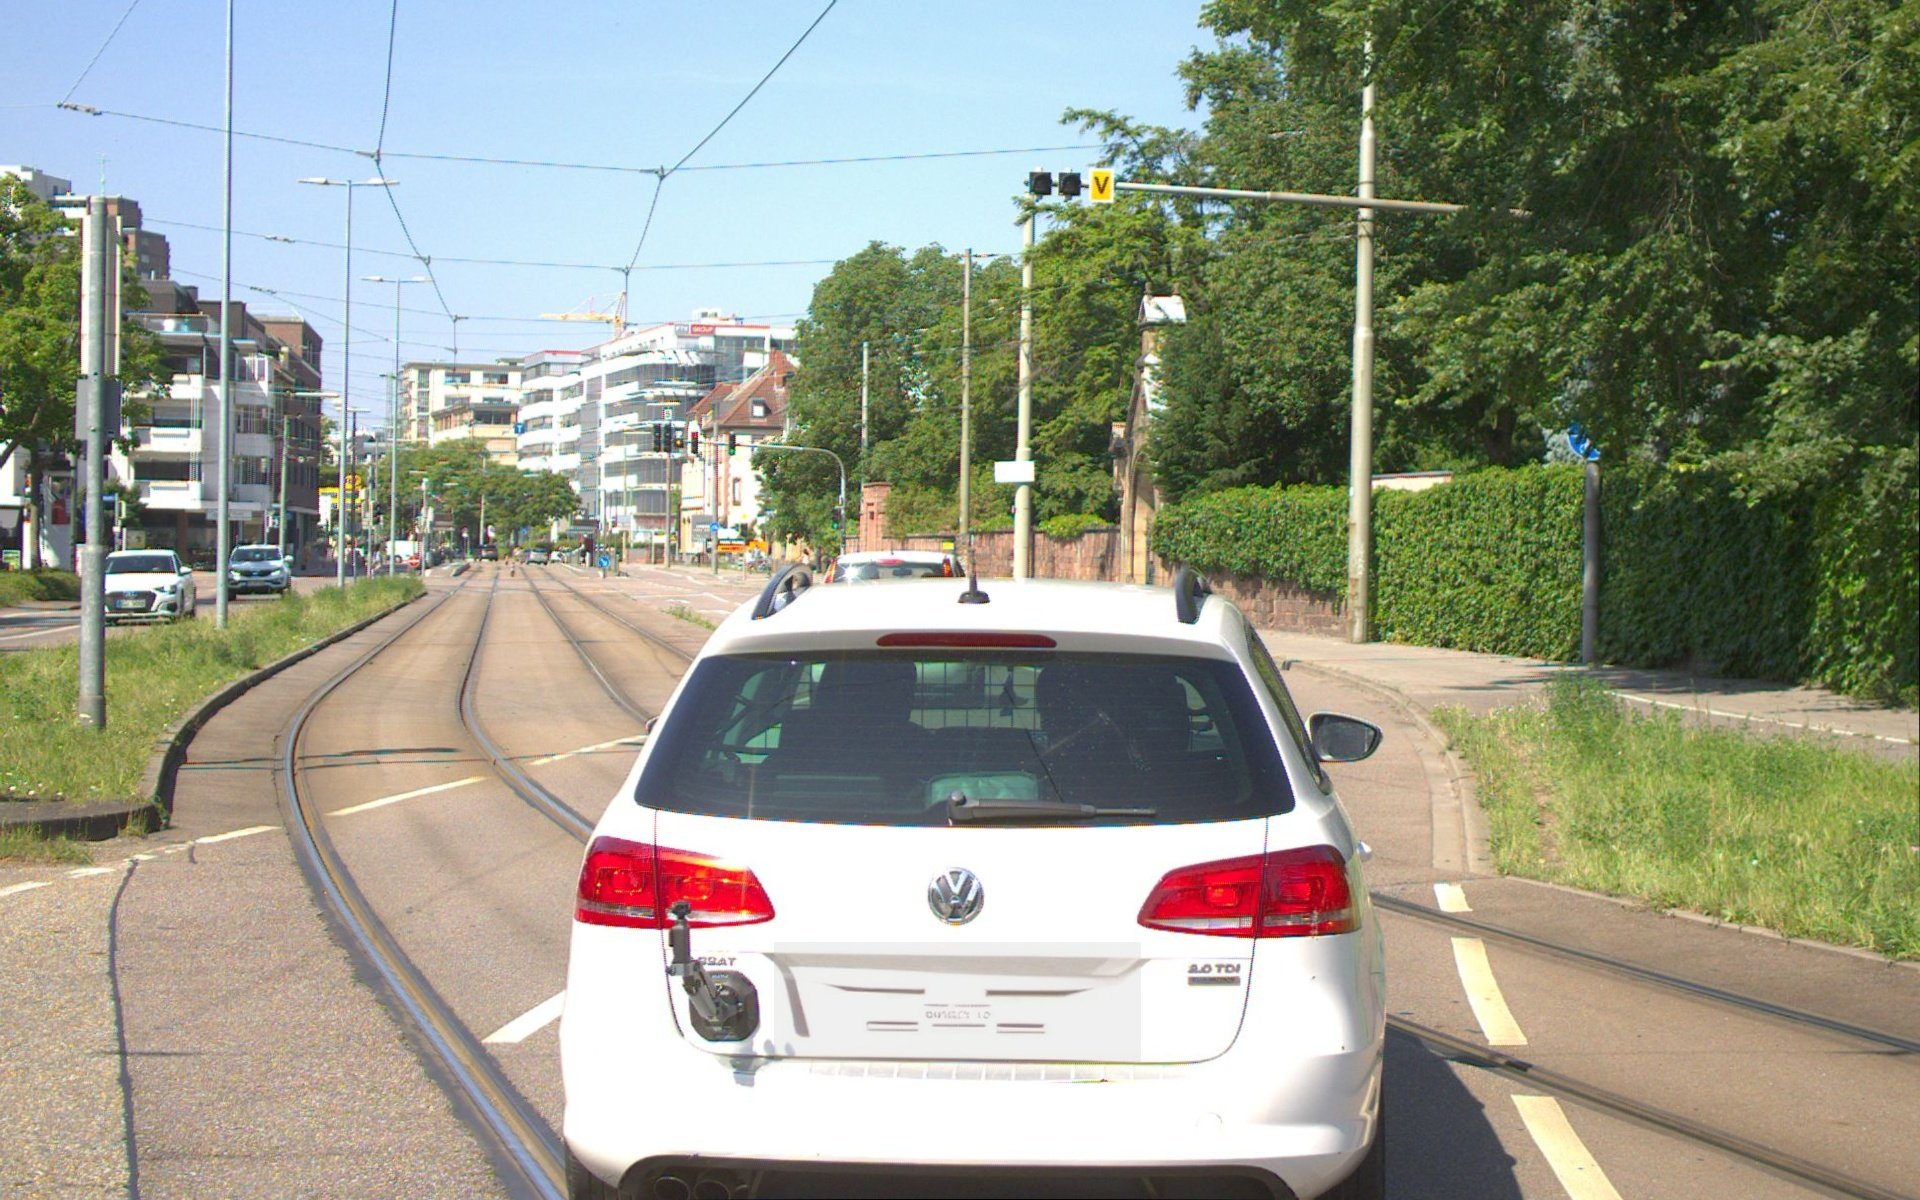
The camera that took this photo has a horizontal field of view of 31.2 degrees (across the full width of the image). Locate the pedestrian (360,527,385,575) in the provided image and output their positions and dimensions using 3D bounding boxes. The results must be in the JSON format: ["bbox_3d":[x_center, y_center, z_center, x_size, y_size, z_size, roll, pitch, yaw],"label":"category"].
[{"bbox_3d":[-21.698,-1.810,126.909,0.826,1.733,0.932,0,1,-15],"label":"pedestrian"}]

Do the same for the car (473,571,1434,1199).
[{"bbox_3d":[0.062,0.701,8.321,1.779,1.485,3.846,1,1,2],"label":"car"}]

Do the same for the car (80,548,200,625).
[{"bbox_3d":[-15.804,-0.287,66.419,1.791,1.418,4.337,0,1,-7],"label":"car"}]

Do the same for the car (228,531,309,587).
[{"bbox_3d":[-20.333,-1.224,101.226,2.042,1.591,4.661,0,1,-7],"label":"car"}]

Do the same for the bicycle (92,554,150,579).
[{"bbox_3d":[-30.260,-1.209,124.021,0.553,0.918,2.173,1,1,36],"label":"bicycle"}]

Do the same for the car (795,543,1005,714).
[{"bbox_3d":[-0.559,0.245,35.320,1.731,1.591,4.010,2,1,4],"label":"car"}]
